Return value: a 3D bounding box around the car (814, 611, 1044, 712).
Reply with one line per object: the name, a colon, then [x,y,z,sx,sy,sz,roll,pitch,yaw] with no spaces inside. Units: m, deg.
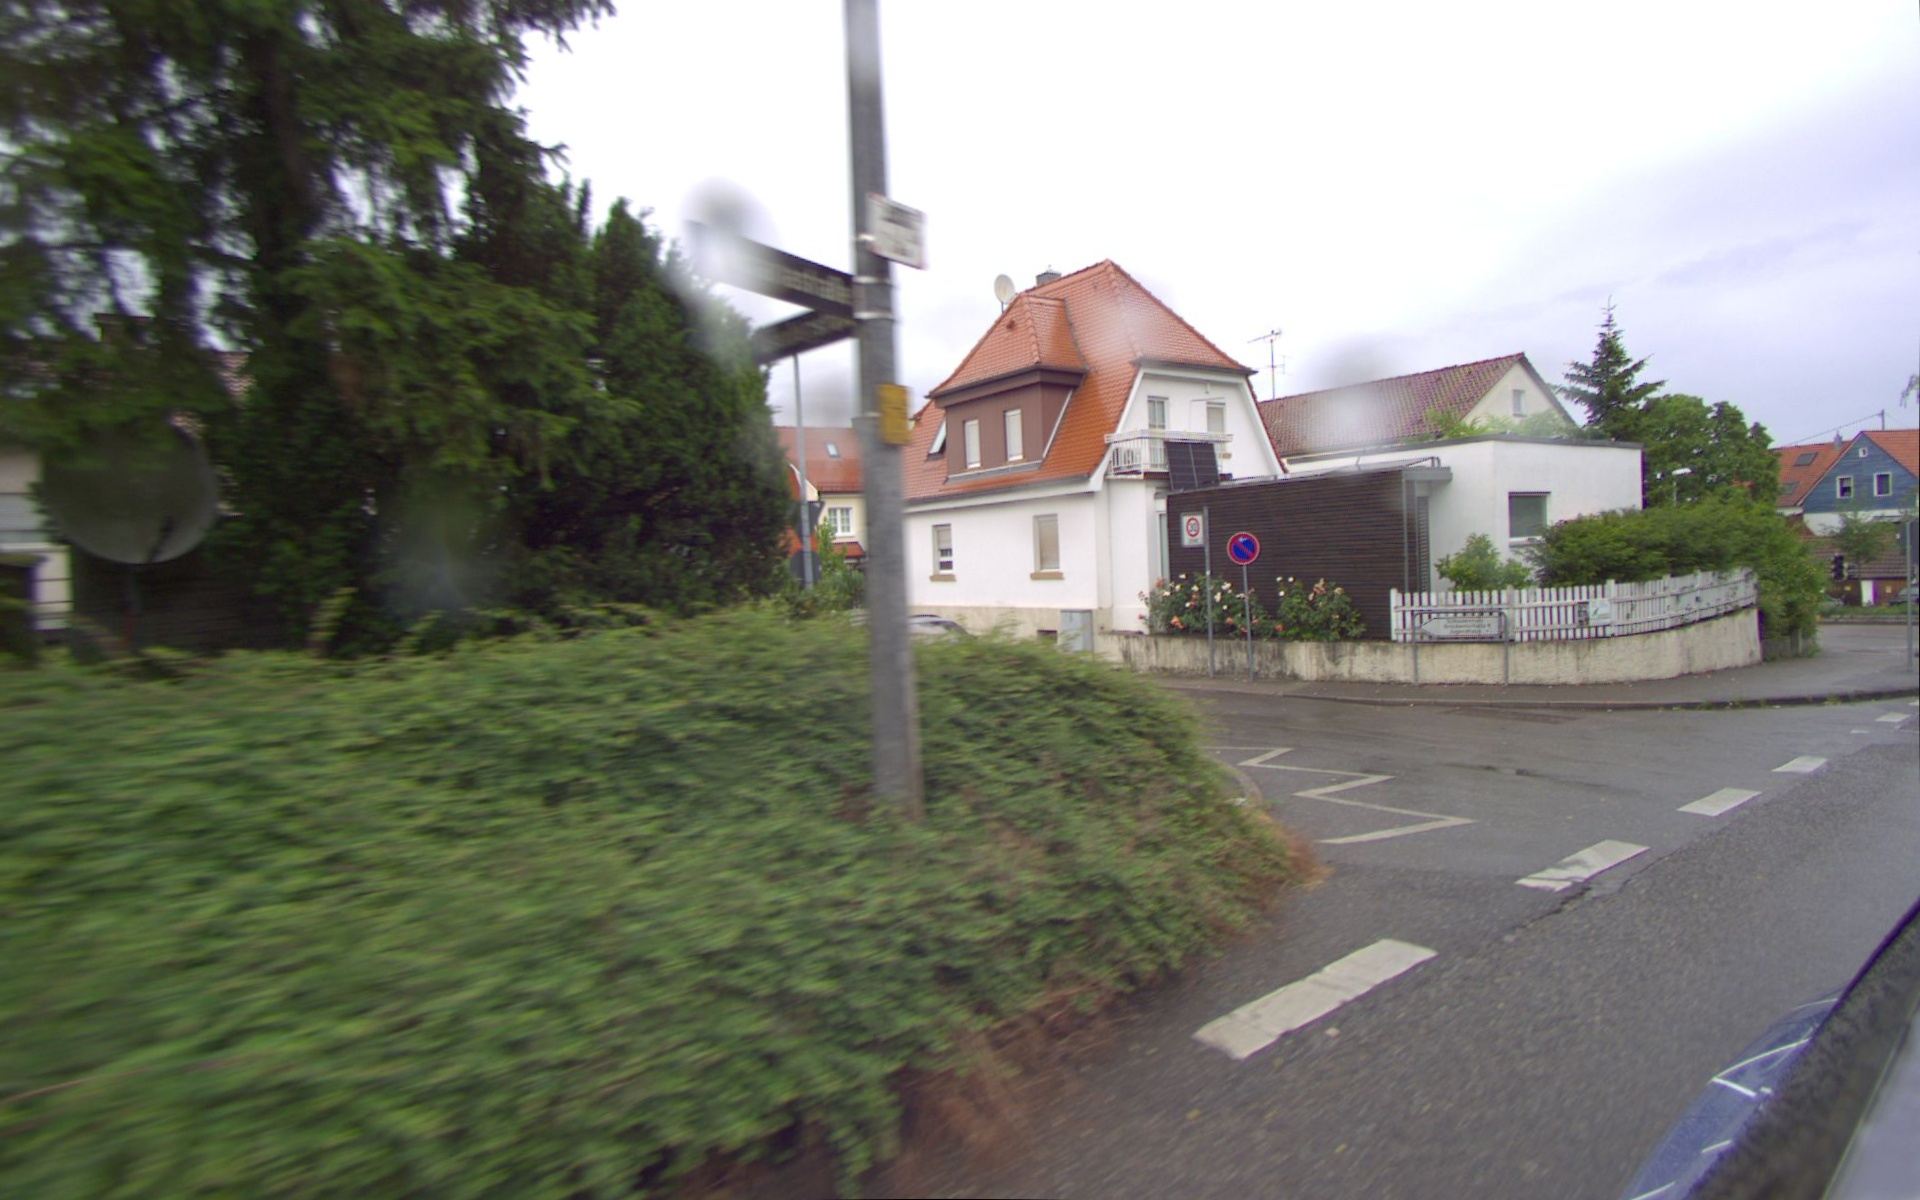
car: [-0.657,0.996,17.743,1.832,1.520,4.174,0,-1,-40]
